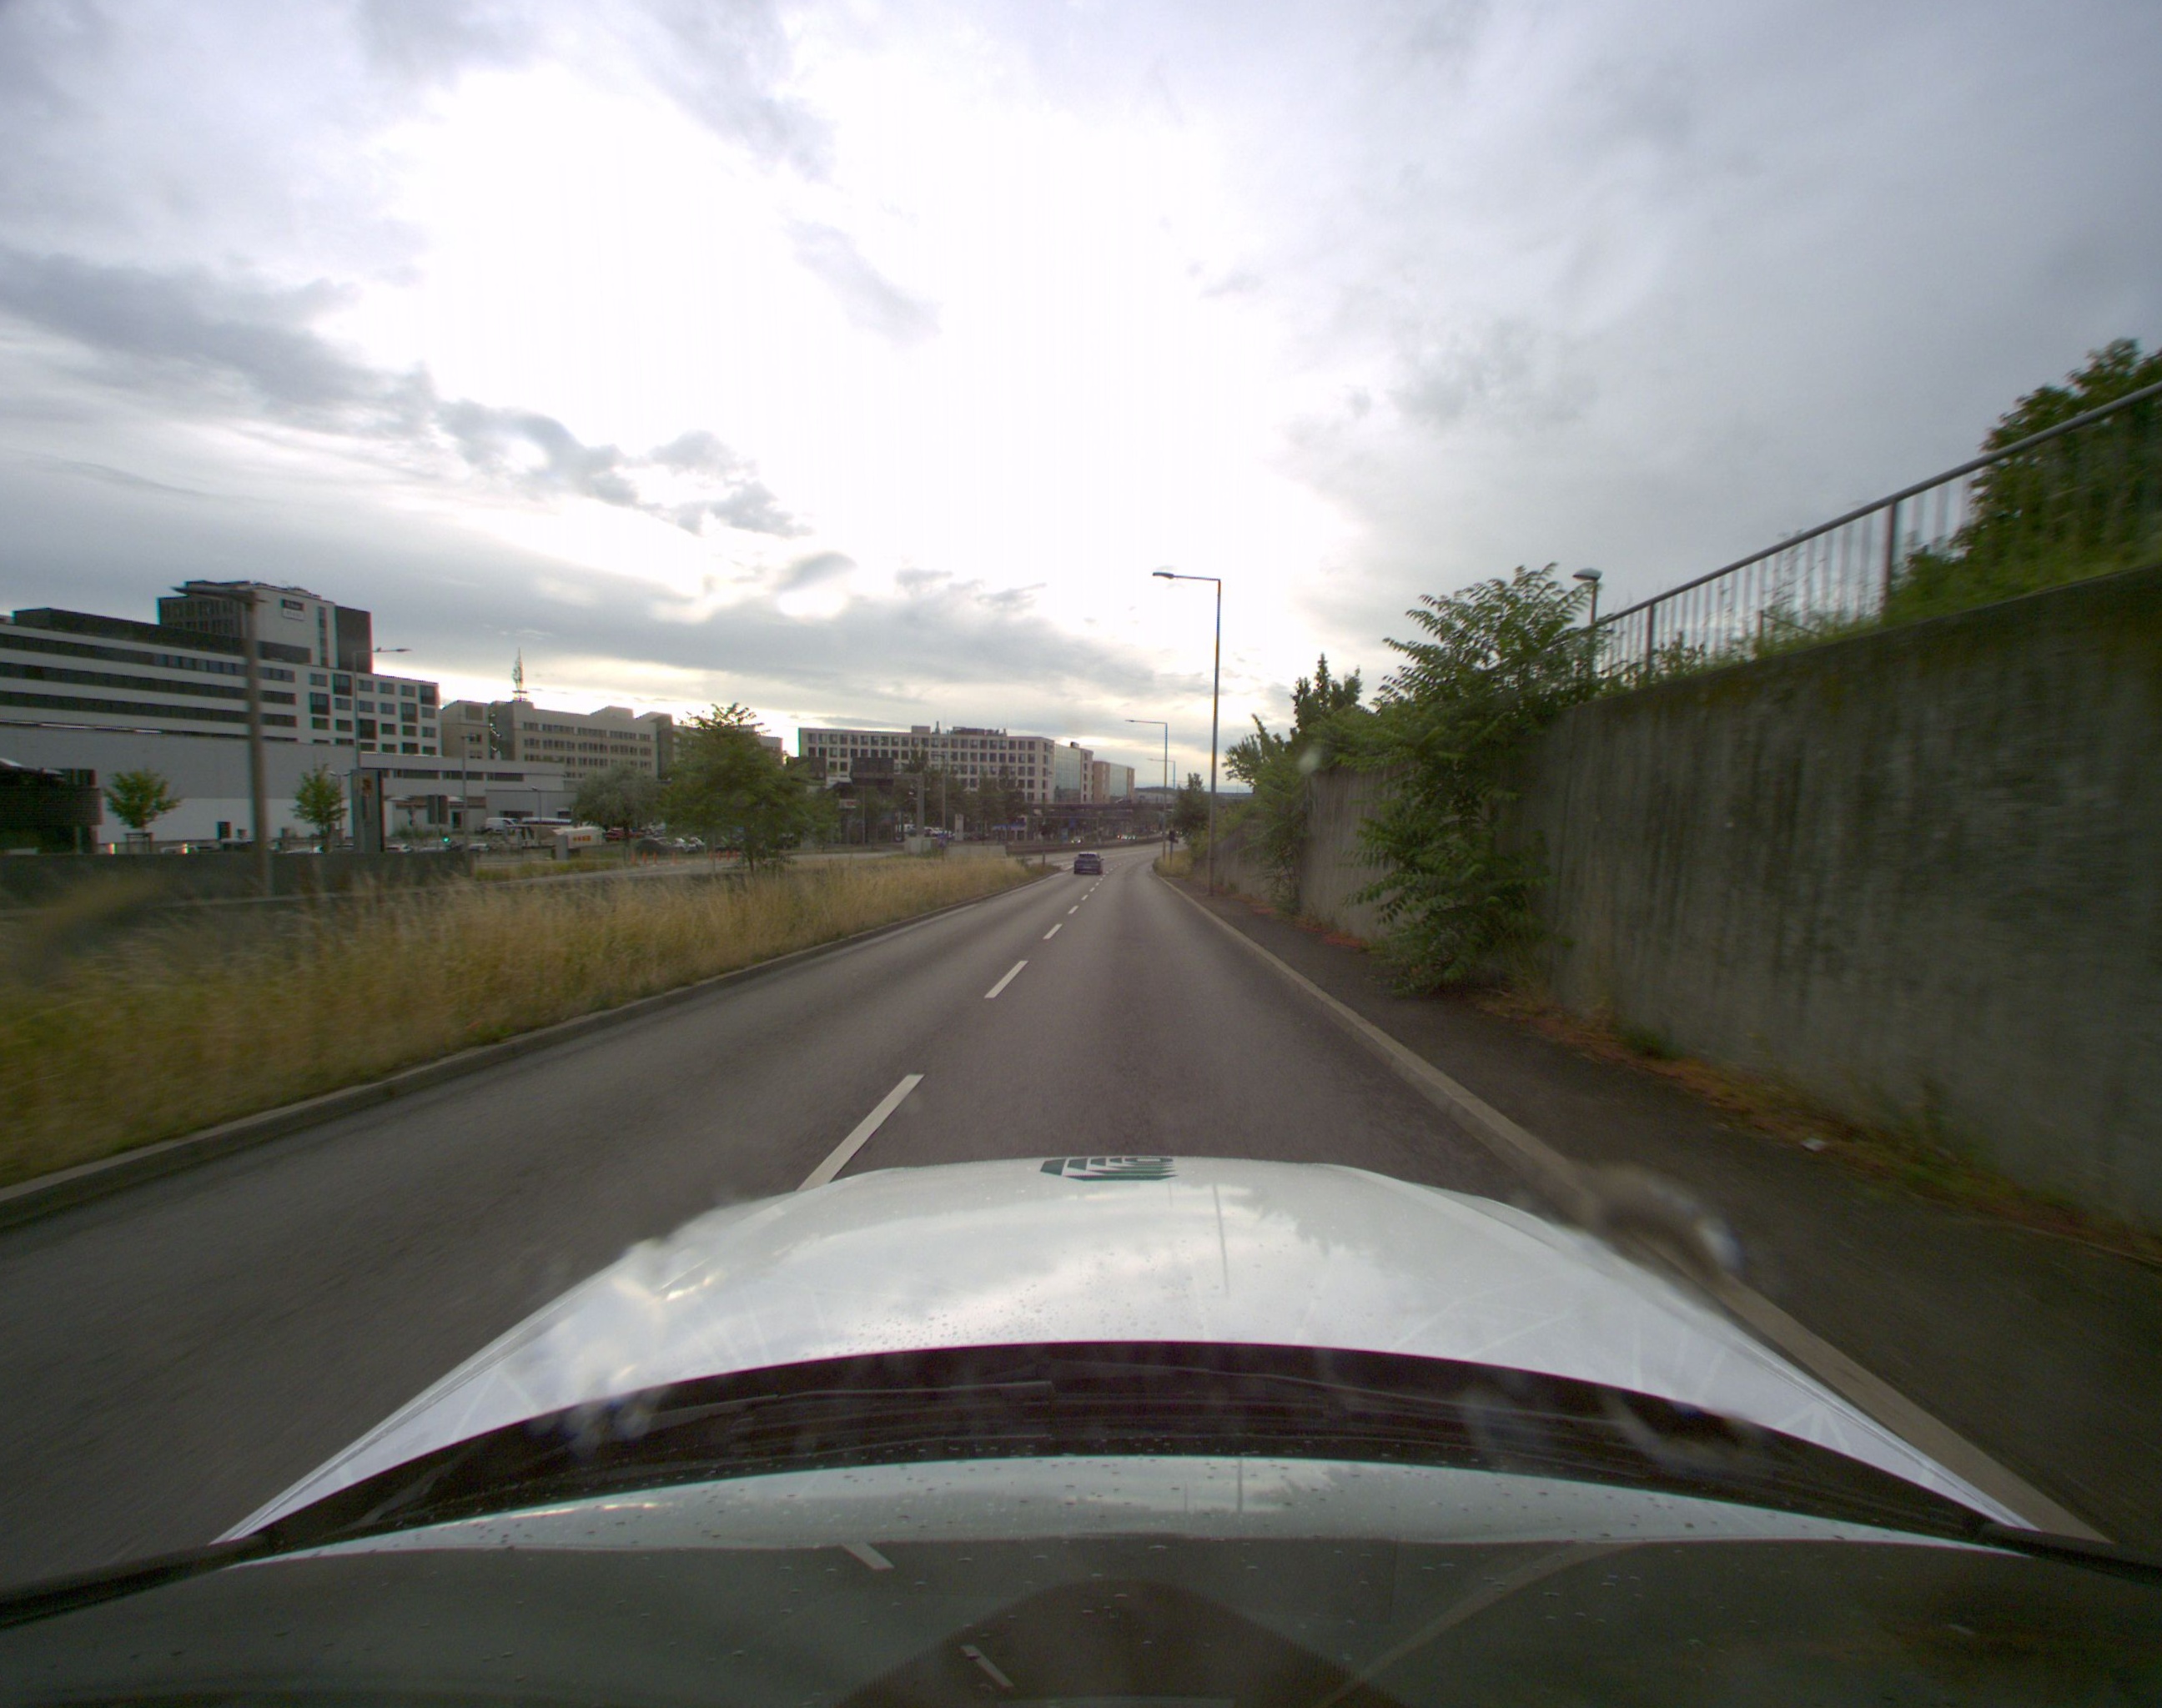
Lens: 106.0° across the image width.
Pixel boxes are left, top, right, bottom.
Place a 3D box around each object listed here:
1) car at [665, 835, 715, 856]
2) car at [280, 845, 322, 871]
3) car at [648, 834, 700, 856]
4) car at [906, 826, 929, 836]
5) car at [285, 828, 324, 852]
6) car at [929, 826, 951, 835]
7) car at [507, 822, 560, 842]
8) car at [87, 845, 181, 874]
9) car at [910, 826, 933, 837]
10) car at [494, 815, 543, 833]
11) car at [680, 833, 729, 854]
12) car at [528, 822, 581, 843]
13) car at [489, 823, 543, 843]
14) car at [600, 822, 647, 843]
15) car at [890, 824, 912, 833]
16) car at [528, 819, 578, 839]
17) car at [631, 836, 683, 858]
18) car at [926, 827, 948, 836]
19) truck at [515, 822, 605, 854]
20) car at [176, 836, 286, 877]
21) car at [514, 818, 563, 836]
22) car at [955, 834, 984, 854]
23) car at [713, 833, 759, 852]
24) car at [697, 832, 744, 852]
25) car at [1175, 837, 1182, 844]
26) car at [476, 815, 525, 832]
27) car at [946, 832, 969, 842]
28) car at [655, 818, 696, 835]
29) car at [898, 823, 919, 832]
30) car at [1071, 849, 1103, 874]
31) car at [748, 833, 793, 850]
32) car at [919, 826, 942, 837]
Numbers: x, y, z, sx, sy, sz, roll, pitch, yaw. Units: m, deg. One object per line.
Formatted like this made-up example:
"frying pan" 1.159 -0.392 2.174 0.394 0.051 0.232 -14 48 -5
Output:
"car" -37.781 -0.877 78.664 3.961 1.683 1.930 4 4 11
"car" -62.633 0.280 65.418 2.010 1.683 3.957 0 6 -38
"car" -38.233 -0.836 76.473 3.961 1.683 1.930 4 4 11
"car" -32.118 -4.440 159.883 3.964 1.650 2.006 4 4 8
"car" -67.440 -1.239 70.777 2.010 1.705 3.957 0 6 -38
"car" -29.898 -4.993 172.720 3.958 1.650 2.009 4 5 15
"car" -53.121 -2.196 79.071 1.903 1.683 4.019 4 5 16
"car" -66.293 0.353 57.088 3.979 1.683 1.998 3 4 -4
"car" -31.787 -4.441 162.556 3.957 2.013 2.009 3 2 15
"car" -60.665 -3.251 87.869 1.903 1.683 4.019 4 5 16
"car" -37.420 -1.054 81.011 3.961 1.683 1.930 4 4 11
"car" -50.435 -2.099 78.082 1.903 1.683 4.019 4 5 16
"car" -55.218 -2.064 79.602 1.903 1.683 4.019 4 5 16
"car" -47.542 -2.275 84.690 1.887 1.880 4.019 4 5 16
"car" -36.335 -5.147 164.377 3.964 1.650 2.006 4 4 8
"car" -55.475 -2.670 85.628 1.979 1.880 4.019 4 5 16
"car" -38.685 -0.644 74.238 3.975 1.599 1.705 4 4 11
"car" -30.017 -4.747 170.150 3.958 1.650 2.009 4 5 15
"truck" -47.866 -1.547 75.092 2.350 2.526 7.441 4 5 13
"car" -60.760 0.161 58.317 5.121 2.488 2.534 3 4 0
"car" -57.821 -2.953 86.835 1.903 1.683 4.019 4 5 16
"car" -10.558 -1.008 77.306 1.678 1.589 3.559 4 4 9
"car" -36.298 -1.219 85.719 3.961 1.683 1.930 4 4 11
"car" -36.933 -1.221 83.441 3.961 1.683 1.930 4 4 11
"car" 28.097 -3.937 234.319 1.853 1.749 4.010 3 4 7
"car" -62.925 -3.315 88.396 1.903 1.683 4.019 4 5 16
"car" -23.686 -3.337 155.725 3.999 1.650 1.988 3 2 -19
"car" -47.119 -3.177 94.764 3.999 1.781 1.912 1 5 -20
"car" -36.166 -5.556 170.901 3.966 1.650 1.826 3 4 7
"car" 0.416 0.473 54.106 1.740 1.419 3.484 -2 3 5
"car" -34.755 -1.437 91.316 1.899 1.683 4.531 5 5 29
"car" -30.472 -4.544 164.744 3.958 1.875 2.009 4 4 15
